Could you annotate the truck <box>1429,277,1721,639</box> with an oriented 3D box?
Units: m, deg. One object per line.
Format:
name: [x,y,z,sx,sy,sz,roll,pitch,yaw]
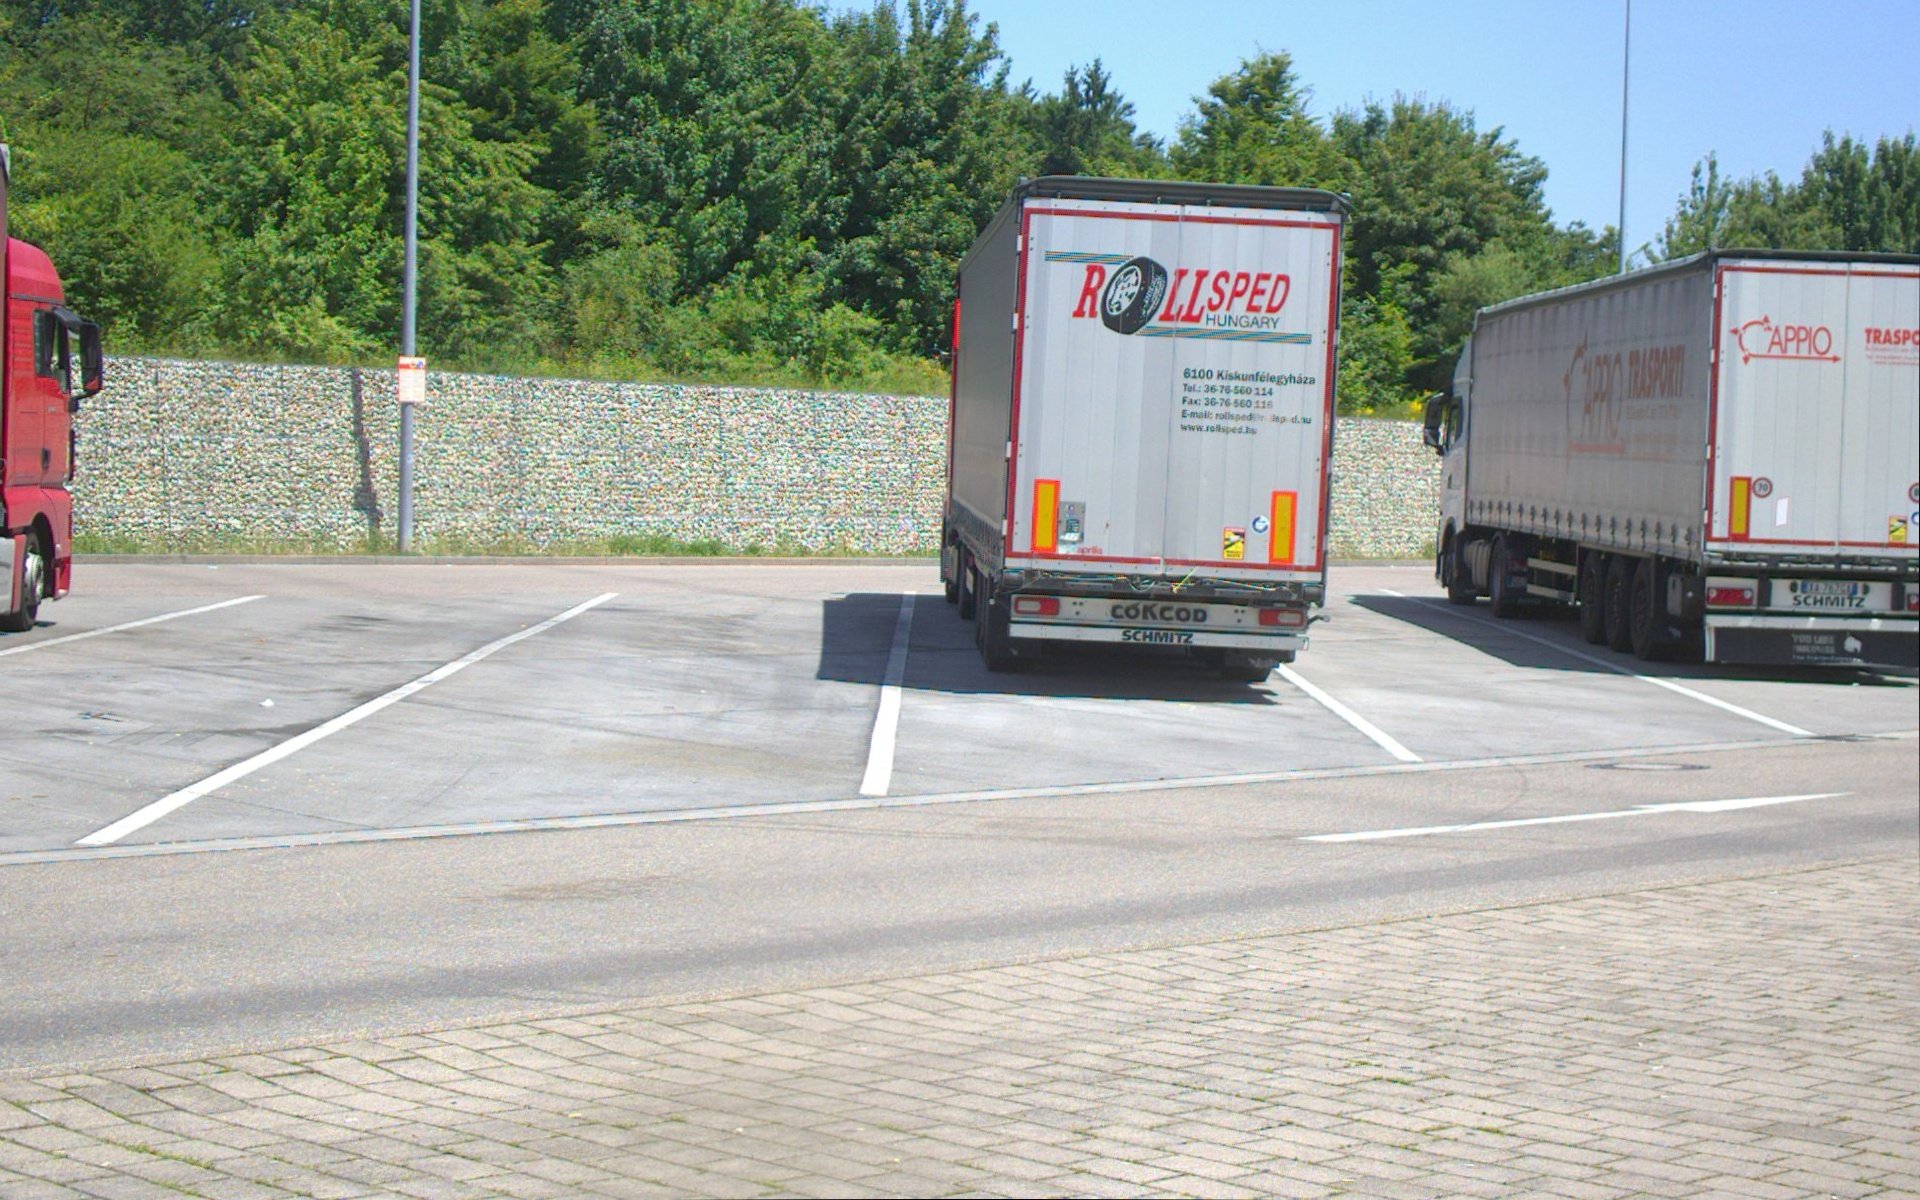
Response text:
truck: [7.987,-1.840,45.343,2.661,4.437,5.864,1,2,-1]

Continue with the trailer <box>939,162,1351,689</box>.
trailer: [1.380,-1.510,31.964,2.897,4.000,11.318,1,2,-1]

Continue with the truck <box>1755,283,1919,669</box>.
truck: [11.739,-1.350,38.733,2.587,4.211,11.971,1,1,-1]

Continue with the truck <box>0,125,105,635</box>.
truck: [-9.166,-1.806,28.347,2.805,4.119,5.894,1,2,-1]

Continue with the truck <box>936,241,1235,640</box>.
truck: [1.239,-1.700,37.602,2.871,3.967,6.030,1,2,-1]

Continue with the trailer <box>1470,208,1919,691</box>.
trailer: [8.121,-1.591,38.209,2.681,4.437,12.831,1,2,-1]
